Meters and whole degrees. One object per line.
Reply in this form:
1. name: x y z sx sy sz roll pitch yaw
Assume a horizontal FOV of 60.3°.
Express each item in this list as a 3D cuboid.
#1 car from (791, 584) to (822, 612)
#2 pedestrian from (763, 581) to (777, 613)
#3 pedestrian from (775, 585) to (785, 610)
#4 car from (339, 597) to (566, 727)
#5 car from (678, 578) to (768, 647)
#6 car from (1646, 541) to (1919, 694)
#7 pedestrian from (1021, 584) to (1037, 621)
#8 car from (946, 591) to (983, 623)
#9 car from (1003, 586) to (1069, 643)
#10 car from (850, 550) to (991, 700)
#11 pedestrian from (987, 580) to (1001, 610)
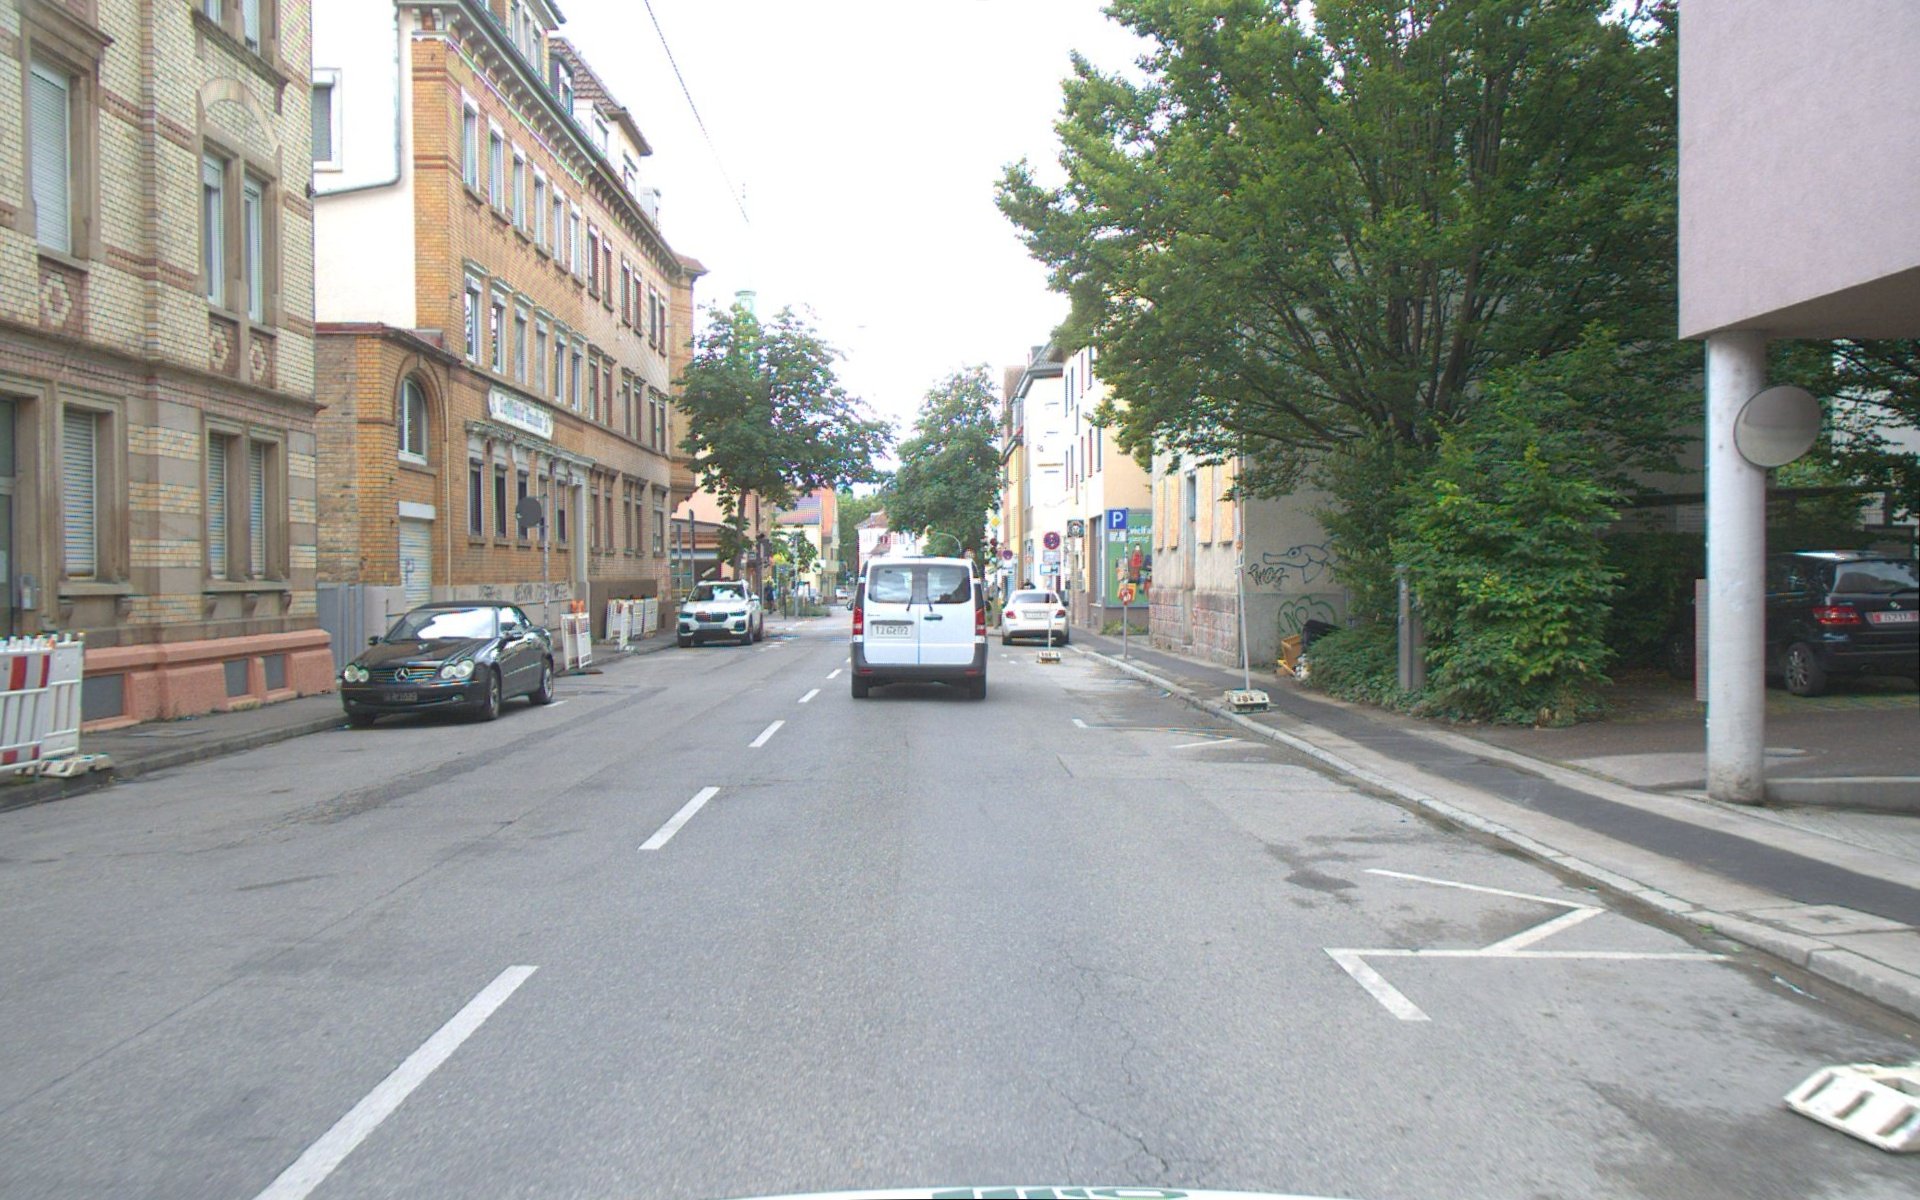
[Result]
1. car: -9.259 -0.140 99.995 1.669 1.601 4.448 -2 1 -3
2. pedestrian: -10.495 -0.185 91.295 0.724 1.748 1.155 0 0 -5
3. pedestrian: -11.461 -0.175 105.202 0.559 1.581 0.696 1 0 -3
4. car: -6.295 0.699 20.992 1.546 1.407 4.354 -2 0 -1
5. car: -6.532 0.315 45.972 1.853 1.742 4.740 -2 1 -1
6. car: 10.167 0.136 20.188 1.604 1.612 3.996 -3 2 -5
7. pedestrian: 3.163 0.106 76.029 0.602 1.681 0.982 1 0 -3
8. car: 0.218 0.410 94.974 1.784 1.812 4.399 0 0 -4
9. car: 2.065 0.370 46.224 1.731 1.491 4.784 0 0 1
10. car: -0.578 0.309 23.532 1.835 1.945 3.998 0 0 -2
11. pedestrian: 1.882 -0.279 92.671 0.687 1.678 0.888 -1 0 -4
